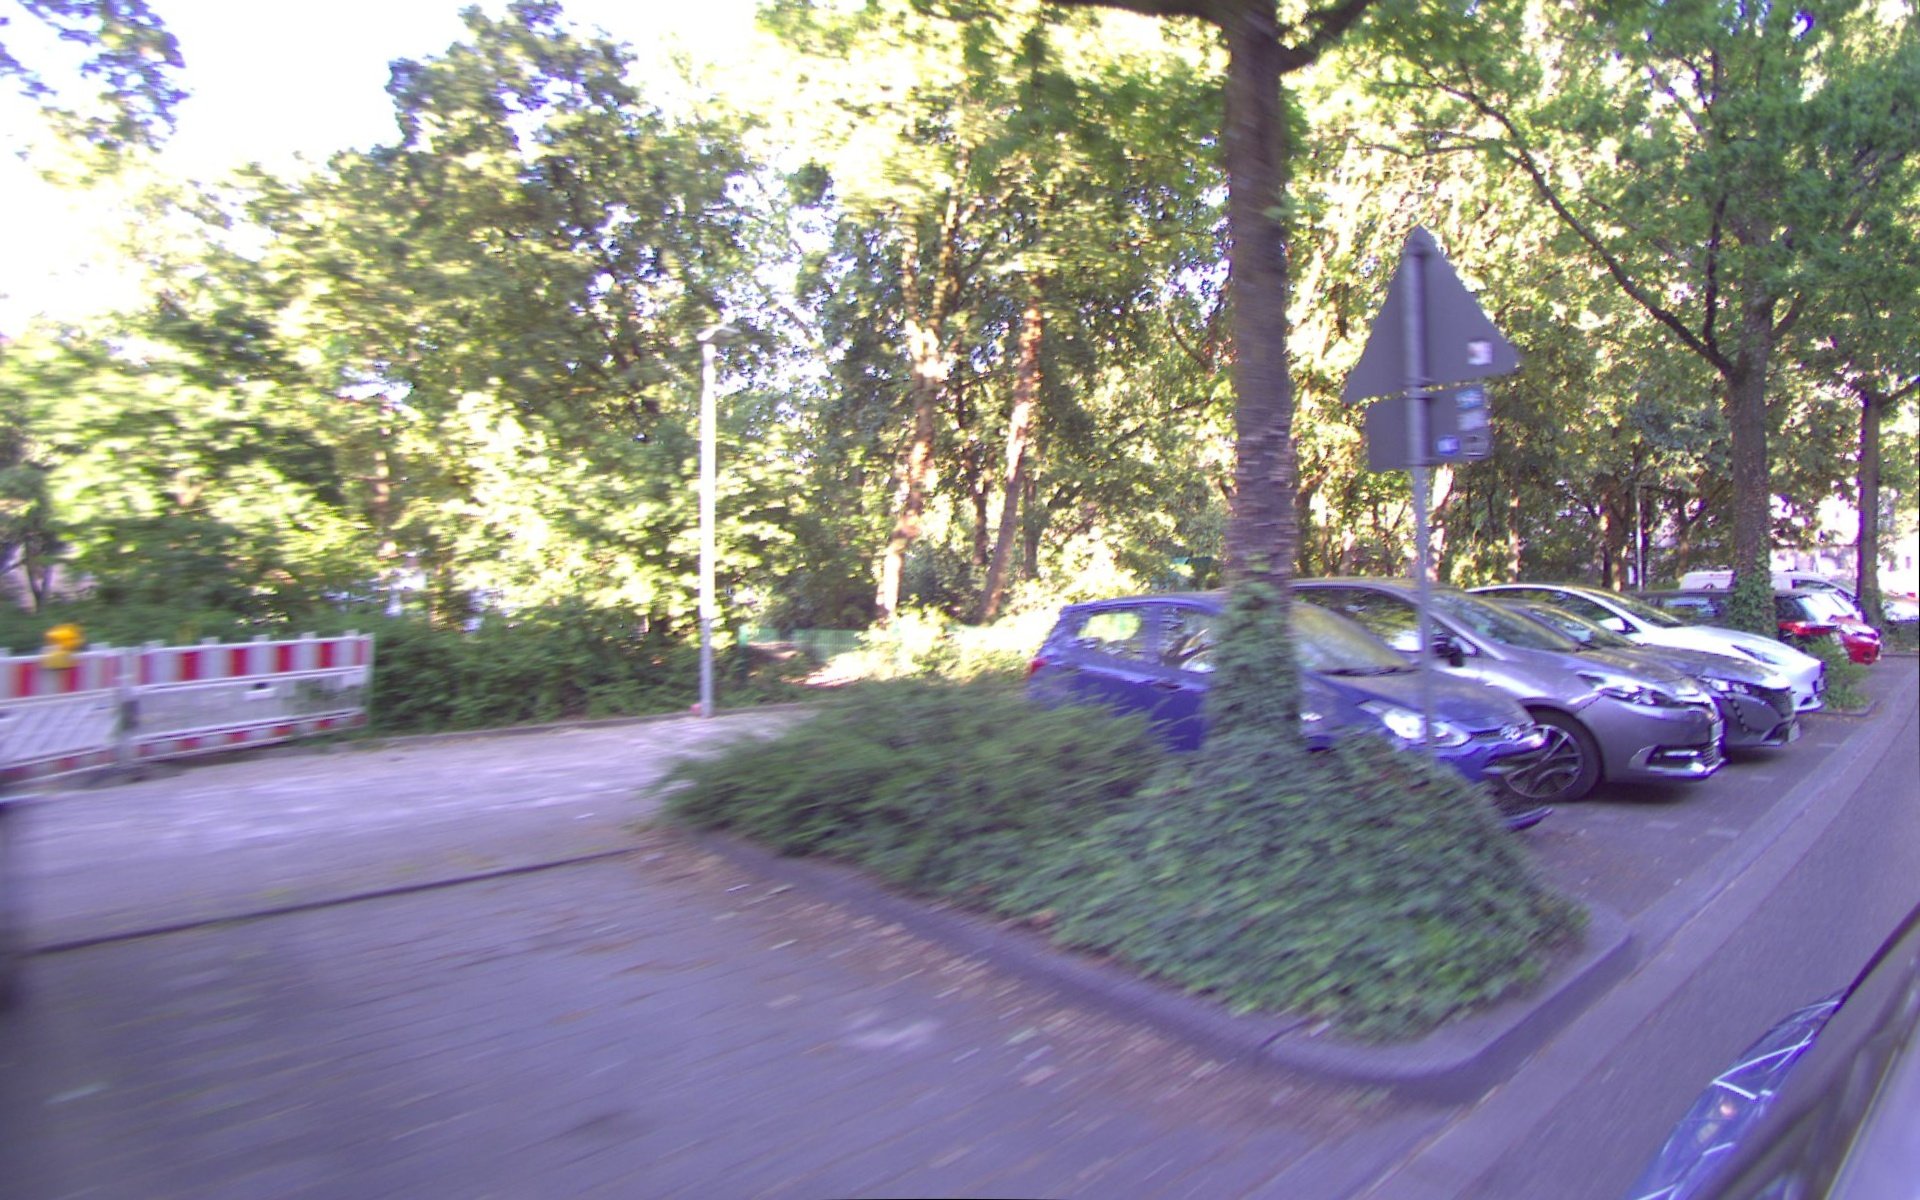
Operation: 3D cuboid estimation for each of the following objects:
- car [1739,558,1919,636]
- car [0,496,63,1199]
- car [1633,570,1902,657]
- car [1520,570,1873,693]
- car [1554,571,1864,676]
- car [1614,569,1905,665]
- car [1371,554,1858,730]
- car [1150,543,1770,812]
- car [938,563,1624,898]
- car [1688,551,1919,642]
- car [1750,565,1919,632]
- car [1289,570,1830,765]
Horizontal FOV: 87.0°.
[{"bbox_3d":[22.170,-0.050,25.210,1.765,1.780,3.998,-2,-1,-36],"label":"car"},{"bbox_3d":[-3.121,0.741,2.229,1.646,1.597,4.380,-2,-1,-41],"label":"car"},{"bbox_3d":[16.428,0.299,20.777,1.635,1.594,3.996,-2,-1,-37],"label":"car"},{"bbox_3d":[10.946,0.471,15.284,1.560,1.594,4.026,-2,-1,-41],"label":"car"},{"bbox_3d":[12.728,0.419,17.405,1.560,1.594,3.992,-2,-1,-41],"label":"car"},{"bbox_3d":[14.763,0.349,18.871,1.560,1.594,3.992,-2,-1,-41],"label":"car"},{"bbox_3d":[7.627,0.467,12.206,1.875,1.717,4.538,-2,-1,-41],"label":"car"},{"bbox_3d":[4.025,0.558,8.740,1.876,1.730,4.376,-1,-1,-43],"label":"car"},{"bbox_3d":[1.854,0.651,7.310,1.702,1.626,4.599,-2,0,-36],"label":"car"},{"bbox_3d":[20.109,-0.139,23.709,1.840,1.948,4.679,-1,2,-41],"label":"car"},{"bbox_3d":[23.916,-0.033,27.161,1.769,1.648,3.989,-1,-1,-43],"label":"car"},{"bbox_3d":[5.869,0.603,10.384,1.844,1.552,4.380,-2,-1,-41],"label":"car"}]
